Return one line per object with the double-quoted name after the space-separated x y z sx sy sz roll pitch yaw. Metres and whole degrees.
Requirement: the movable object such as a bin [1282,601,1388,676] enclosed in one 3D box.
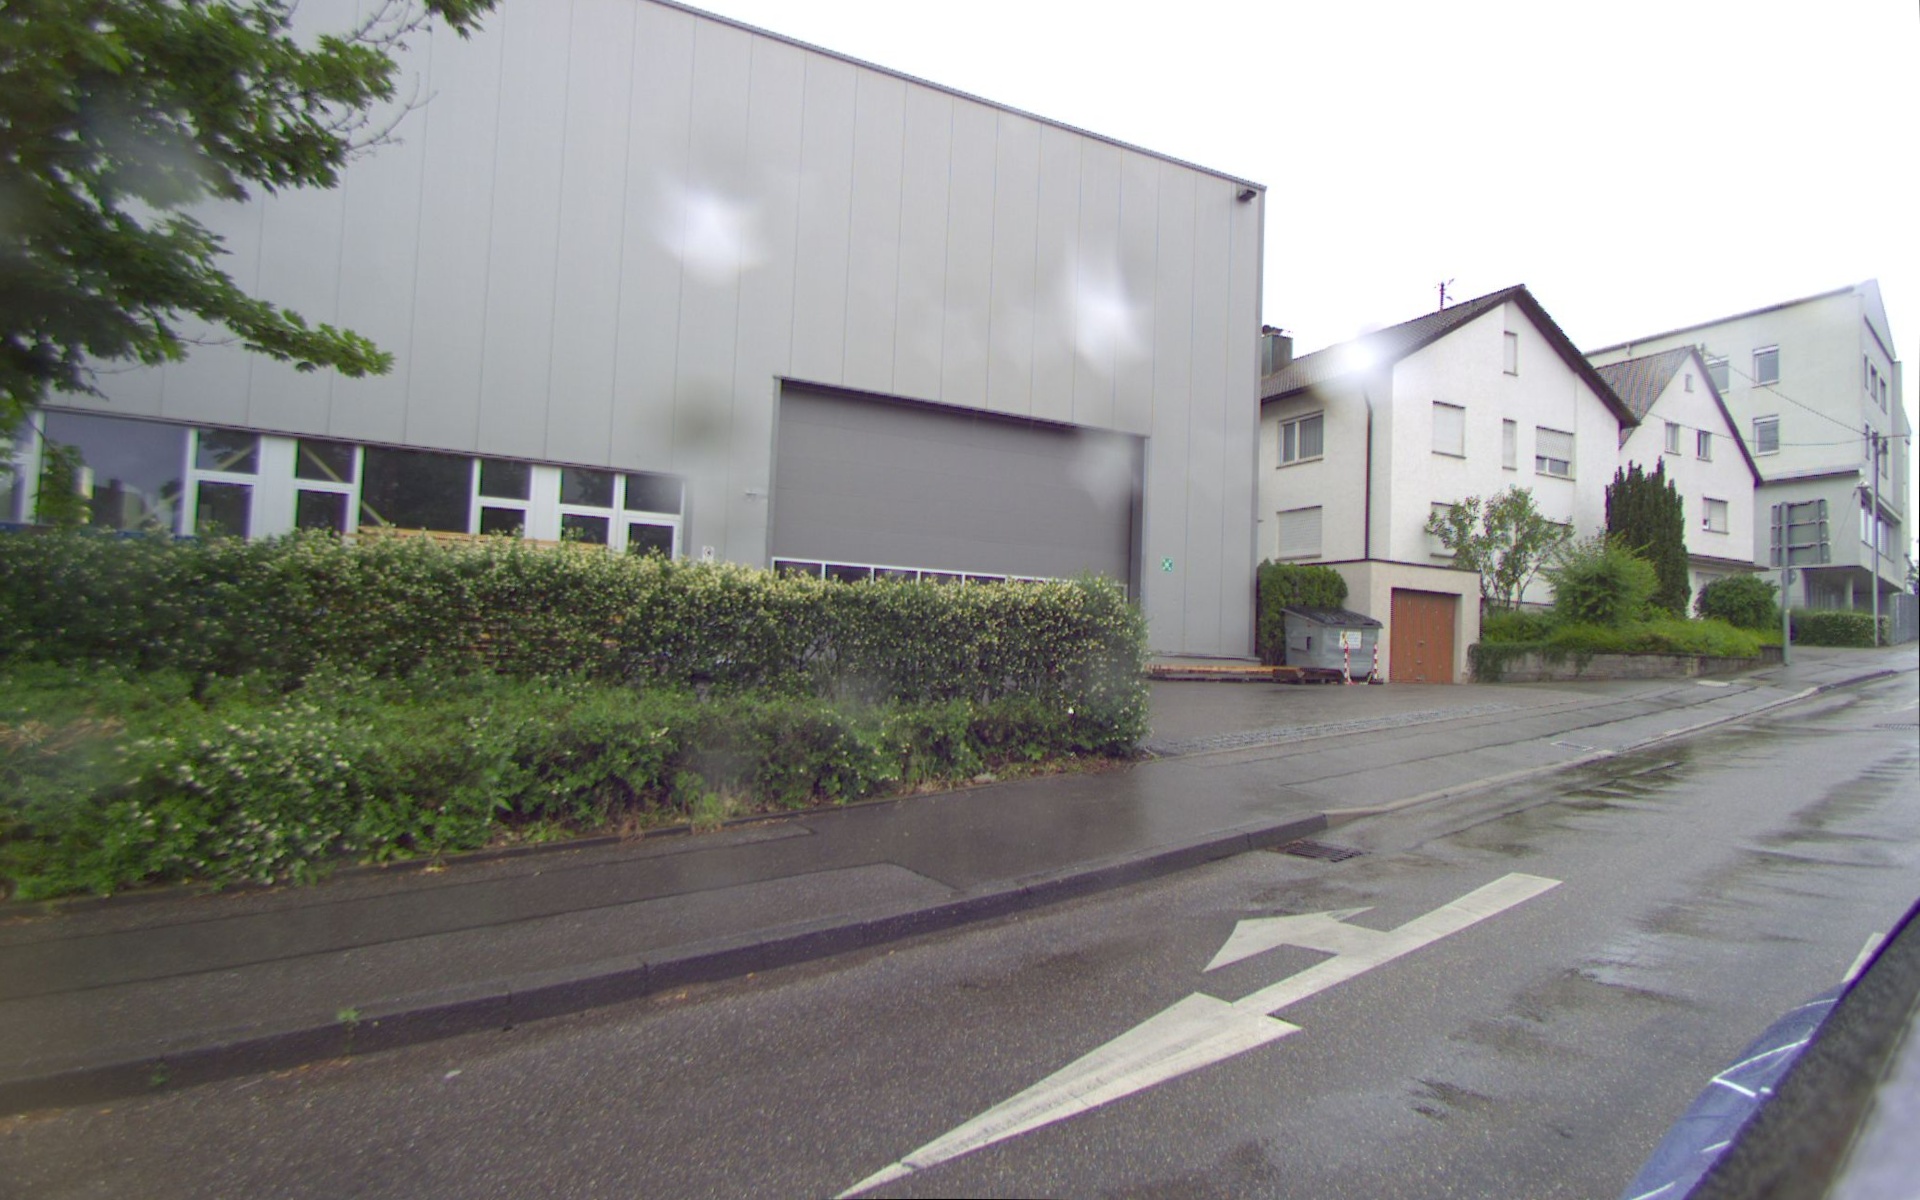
8.087 0.813 21.855 1.742 1.537 1.268 1 0 -25 "movable object such as a bin"
